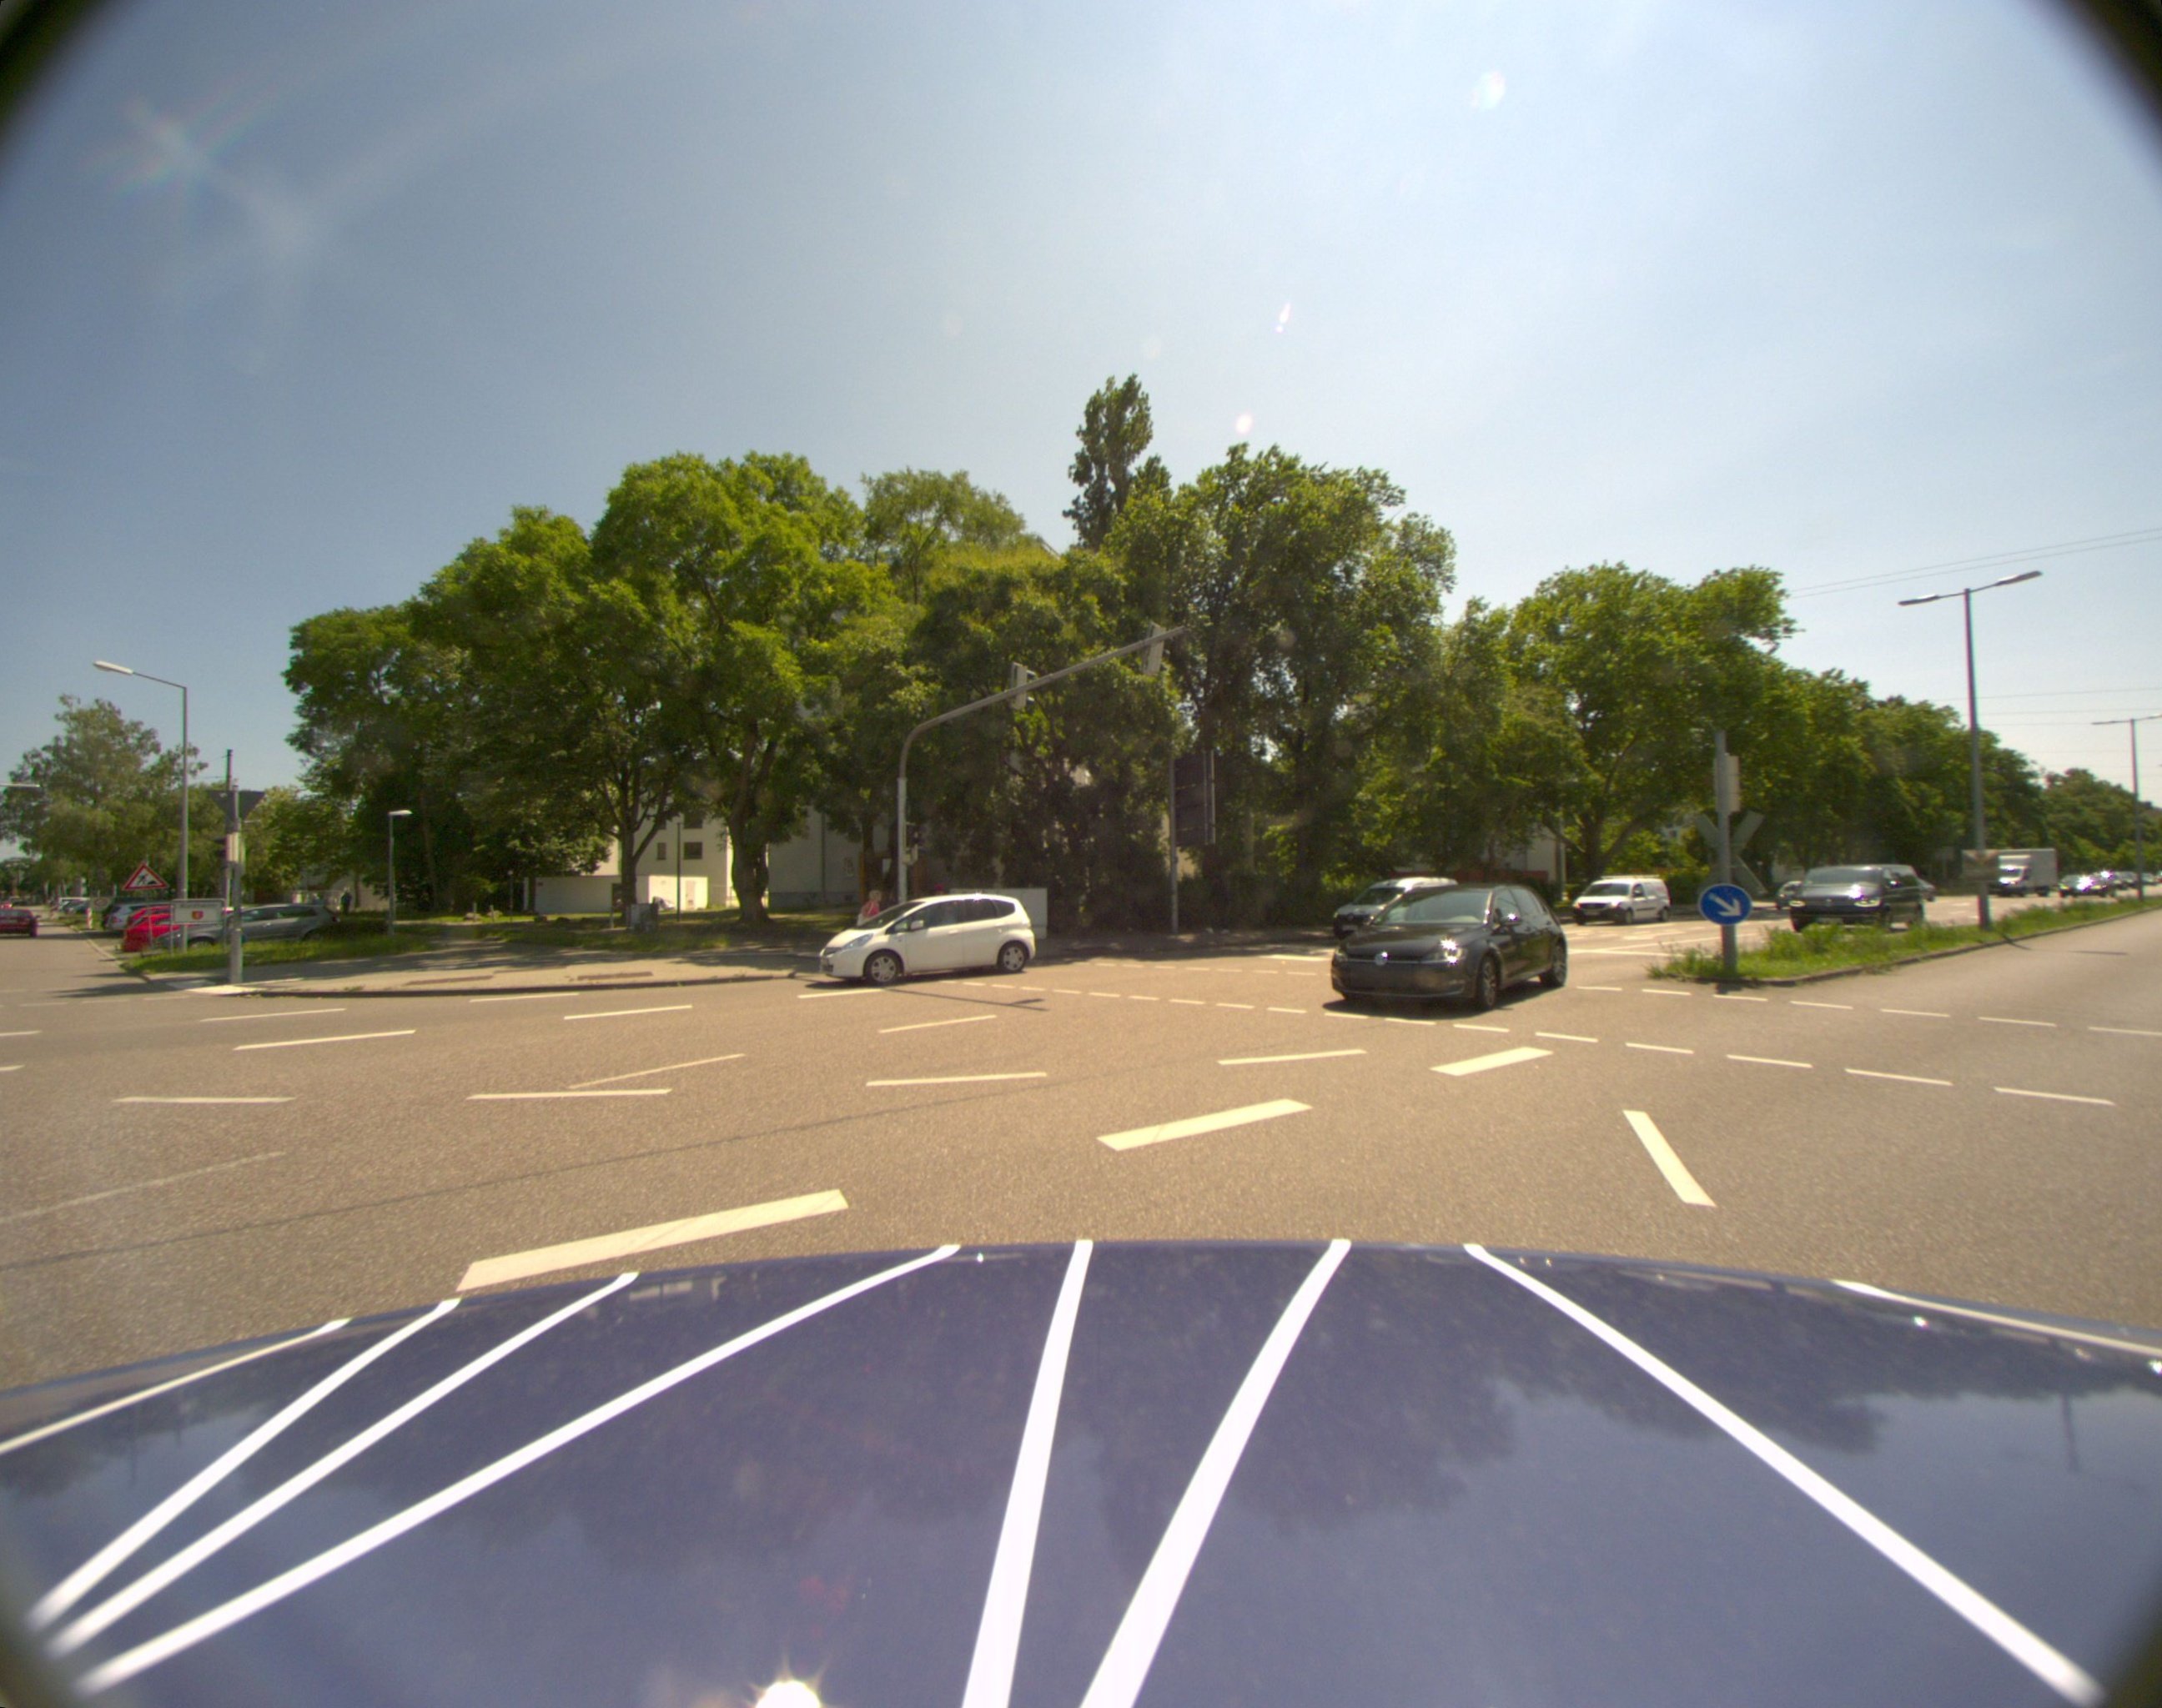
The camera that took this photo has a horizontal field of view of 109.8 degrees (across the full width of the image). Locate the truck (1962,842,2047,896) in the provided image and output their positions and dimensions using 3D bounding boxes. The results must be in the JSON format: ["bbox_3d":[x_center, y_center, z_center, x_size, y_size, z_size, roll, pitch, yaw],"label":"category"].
[{"bbox_3d":[65.473,1.075,53.852,7.725,3.510,2.584,0,-4,-32],"label":"truck"}]

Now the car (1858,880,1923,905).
[{"bbox_3d":[49.548,2.344,46.520,4.222,1.416,1.845,0,-3,-31],"label":"car"}]

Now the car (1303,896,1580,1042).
[{"bbox_3d":[4.752,1.303,9.757,4.063,1.395,1.706,1,-4,-42],"label":"car"}]

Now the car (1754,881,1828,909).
[{"bbox_3d":[38.667,2.219,41.360,4.222,1.416,1.845,0,-3,-32],"label":"car"}]

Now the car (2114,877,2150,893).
[{"bbox_3d":[120.587,3.550,87.162,4.007,1.720,1.997,0,-5,-31],"label":"car"}]

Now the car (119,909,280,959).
[{"bbox_3d":[-30.545,2.745,26.411,1.580,1.419,3.500,-5,-3,35],"label":"car"}]

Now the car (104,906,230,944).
[{"bbox_3d":[-41.364,3.197,34.450,1.580,1.419,3.500,-5,-3,35],"label":"car"}]

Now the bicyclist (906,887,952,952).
[{"bbox_3d":[-3.791,1.610,18.938,0.908,1.535,0.648,1,0,13],"label":"bicyclist"}]

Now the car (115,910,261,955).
[{"bbox_3d":[-34.446,2.995,29.381,1.580,1.419,3.500,-5,-3,35],"label":"car"}]

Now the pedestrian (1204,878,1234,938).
[{"bbox_3d":[4.288,1.655,23.558,0.680,1.824,0.606,0,-1,-34],"label":"pedestrian"}]

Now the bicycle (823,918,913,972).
[{"bbox_3d":[-4.701,2.000,16.781,1.802,1.057,0.617,1,0,13],"label":"bicycle"}]

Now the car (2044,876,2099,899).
[{"bbox_3d":[61.260,2.069,46.993,4.007,1.278,1.743,0,-5,-34],"label":"car"}]

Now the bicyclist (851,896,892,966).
[{"bbox_3d":[-4.626,1.685,16.766,0.628,1.459,0.617,1,0,13],"label":"bicyclist"}]

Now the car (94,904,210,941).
[{"bbox_3d":[-45.619,3.332,37.384,1.580,1.545,3.500,-5,-3,35],"label":"car"}]

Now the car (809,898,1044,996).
[{"bbox_3d":[-2.804,1.614,14.082,3.906,1.495,1.728,1,-4,-35],"label":"car"}]

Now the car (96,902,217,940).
[{"bbox_3d":[-43.687,3.161,35.970,1.580,1.545,3.500,-5,-3,35],"label":"car"}]

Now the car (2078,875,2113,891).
[{"bbox_3d":[89.759,2.584,67.200,3.652,1.278,1.602,0,-5,-34],"label":"car"}]

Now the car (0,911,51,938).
[{"bbox_3d":[-53.649,3.572,38.529,3.483,1.219,1.588,-5,-3,38],"label":"car"}]

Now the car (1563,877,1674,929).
[{"bbox_3d":[20.594,1.855,29.071,4.401,1.781,1.893,0,-4,-33],"label":"car"}]

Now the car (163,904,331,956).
[{"bbox_3d":[-27.371,2.452,25.046,1.580,1.419,3.499,-4,-3,32],"label":"car"}]

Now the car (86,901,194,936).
[{"bbox_3d":[-49.949,3.404,40.375,1.580,1.569,3.500,-5,-3,35],"label":"car"}]

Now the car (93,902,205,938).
[{"bbox_3d":[-47.329,3.331,38.631,1.580,1.545,3.500,-5,-3,35],"label":"car"}]

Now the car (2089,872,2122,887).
[{"bbox_3d":[96.557,2.387,71.630,3.652,1.278,1.602,0,-5,-34],"label":"car"}]

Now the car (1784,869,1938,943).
[{"bbox_3d":[22.615,1.431,21.994,4.854,1.919,1.939,0,-2,-30],"label":"car"}]

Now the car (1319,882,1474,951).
[{"bbox_3d":[8.934,1.692,21.417,4.351,1.707,1.807,0,-3,-32],"label":"car"}]

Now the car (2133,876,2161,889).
[{"bbox_3d":[144.493,3.841,102.759,4.006,1.720,1.997,0,-4,-28],"label":"car"}]

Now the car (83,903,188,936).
[{"bbox_3d":[-51.679,3.554,41.595,1.580,1.569,3.500,-5,-3,35],"label":"car"}]

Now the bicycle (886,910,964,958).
[{"bbox_3d":[-3.891,1.985,18.959,1.802,1.057,0.617,1,0,13],"label":"bicycle"}]
